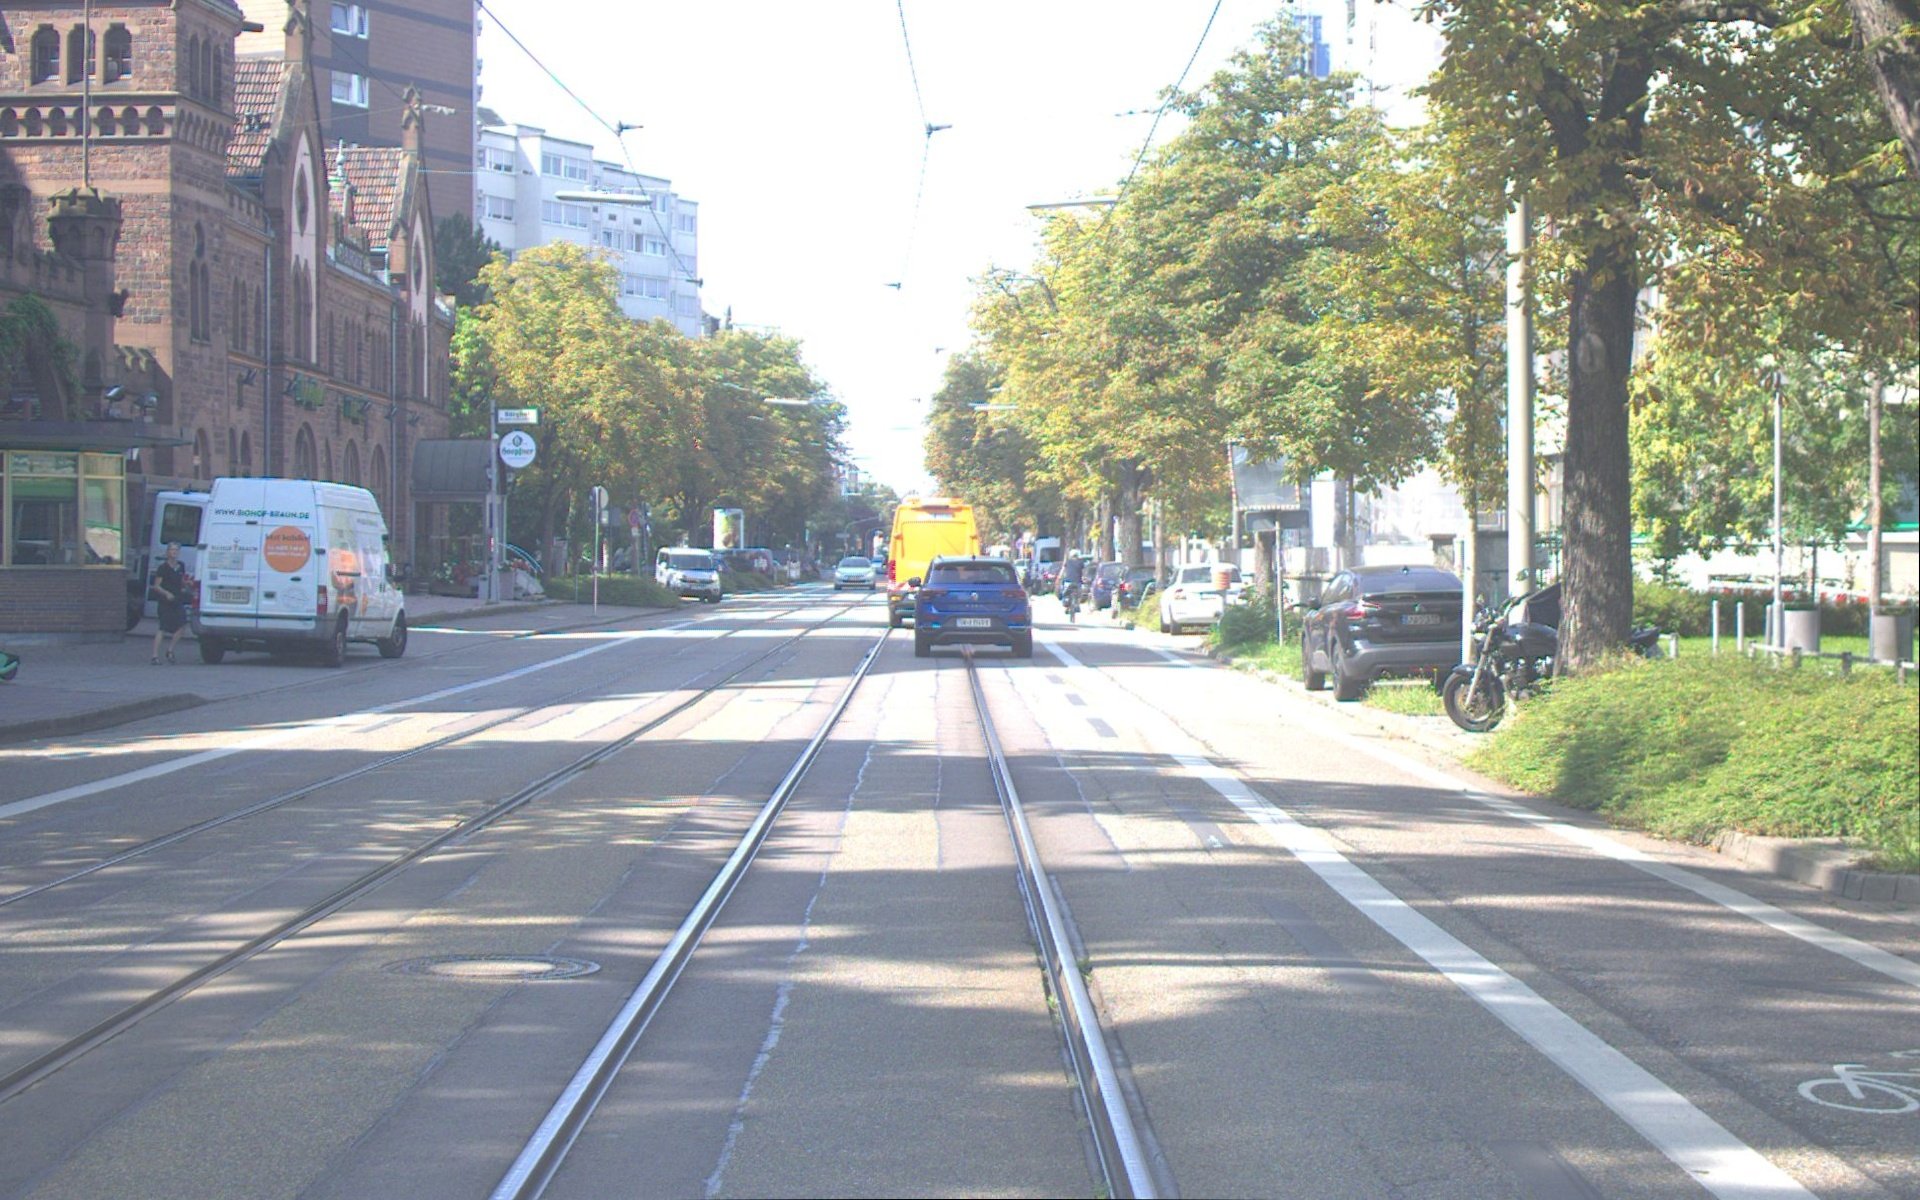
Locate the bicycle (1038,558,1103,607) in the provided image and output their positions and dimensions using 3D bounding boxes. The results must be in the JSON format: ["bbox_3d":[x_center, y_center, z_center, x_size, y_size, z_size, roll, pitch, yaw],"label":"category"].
[{"bbox_3d":[2.642,-0.436,82.651,1.401,1.130,4.000,0,1,0],"label":"bicycle"}]

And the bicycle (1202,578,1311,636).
[{"bbox_3d":[5.073,0.117,58.845,1.812,0.955,0.558,1,1,0],"label":"bicycle"}]

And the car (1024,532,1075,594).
[{"bbox_3d":[4.029,-1.690,155.836,1.993,2.746,5.761,1,1,-1],"label":"car"}]

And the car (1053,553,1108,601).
[{"bbox_3d":[4.345,-0.852,124.727,1.740,1.662,4.362,1,1,-1],"label":"car"}]

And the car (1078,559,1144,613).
[{"bbox_3d":[4.438,-0.421,101.536,1.743,1.550,4.217,0,0,0],"label":"car"}]

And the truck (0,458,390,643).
[{"bbox_3d":[-12.524,-0.829,54.885,6.322,2.529,2.130,4,2,5],"label":"truck"}]

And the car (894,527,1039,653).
[{"bbox_3d":[0.087,-0.179,53.724,2.135,1.852,5.568,0,1,0],"label":"car"}]

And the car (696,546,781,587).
[{"bbox_3d":[-11.231,-1.684,174.491,3.989,2.007,1.856,0,1,-43],"label":"car"}]

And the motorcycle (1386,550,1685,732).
[{"bbox_3d":[5.011,0.337,30.055,2.452,1.511,0.851,1,1,38],"label":"motorcycle"}]

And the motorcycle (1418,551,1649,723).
[{"bbox_3d":[5.268,0.318,31.755,0.850,1.511,2.456,0,1,-25],"label":"motorcycle"}]

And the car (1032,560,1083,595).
[{"bbox_3d":[4.093,-0.952,145.250,1.908,1.427,4.293,1,1,-1],"label":"car"}]

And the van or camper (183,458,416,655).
[{"bbox_3d":[-9.514,-0.634,50.033,2.113,2.666,5.955,1,1,1],"label":"van or camper"}]

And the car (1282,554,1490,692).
[{"bbox_3d":[4.975,0.229,40.721,1.756,1.510,4.610,-1,1,-2],"label":"car"}]

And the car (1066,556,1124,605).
[{"bbox_3d":[4.488,-0.673,114.633,1.633,1.579,4.189,1,1,-1],"label":"car"}]

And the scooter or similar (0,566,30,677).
[{"bbox_3d":[-10.400,0.229,36.483,0.340,1.174,1.176,1,1,25],"label":"scooter or similar"}]

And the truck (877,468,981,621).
[{"bbox_3d":[-0.643,-1.179,73.608,2.135,3.114,6.085,0,1,0],"label":"truck"}]

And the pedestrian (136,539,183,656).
[{"bbox_3d":[-10.985,-0.038,47.174,0.497,1.593,0.552,0,1,-27],"label":"pedestrian"}]

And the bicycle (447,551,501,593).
[{"bbox_3d":[-13.834,-0.798,97.852,1.451,1.089,0.399,4,0,-4],"label":"bicycle"}]

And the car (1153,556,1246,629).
[{"bbox_3d":[4.957,-0.170,71.602,1.659,1.476,4.217,0,0,0],"label":"car"}]

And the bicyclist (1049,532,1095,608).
[{"bbox_3d":[2.682,-0.720,82.611,1.031,1.806,1.016,1,1,0],"label":"bicyclist"}]

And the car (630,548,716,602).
[{"bbox_3d":[-9.900,-0.871,118.358,1.746,1.790,4.001,1,1,-23],"label":"car"}]

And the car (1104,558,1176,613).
[{"bbox_3d":[4.691,-0.383,89.985,1.659,1.403,4.217,0,0,0],"label":"car"}]

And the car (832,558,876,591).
[{"bbox_3d":[-4.842,-1.168,157.449,1.847,1.486,4.867,0,1,0],"label":"car"}]
